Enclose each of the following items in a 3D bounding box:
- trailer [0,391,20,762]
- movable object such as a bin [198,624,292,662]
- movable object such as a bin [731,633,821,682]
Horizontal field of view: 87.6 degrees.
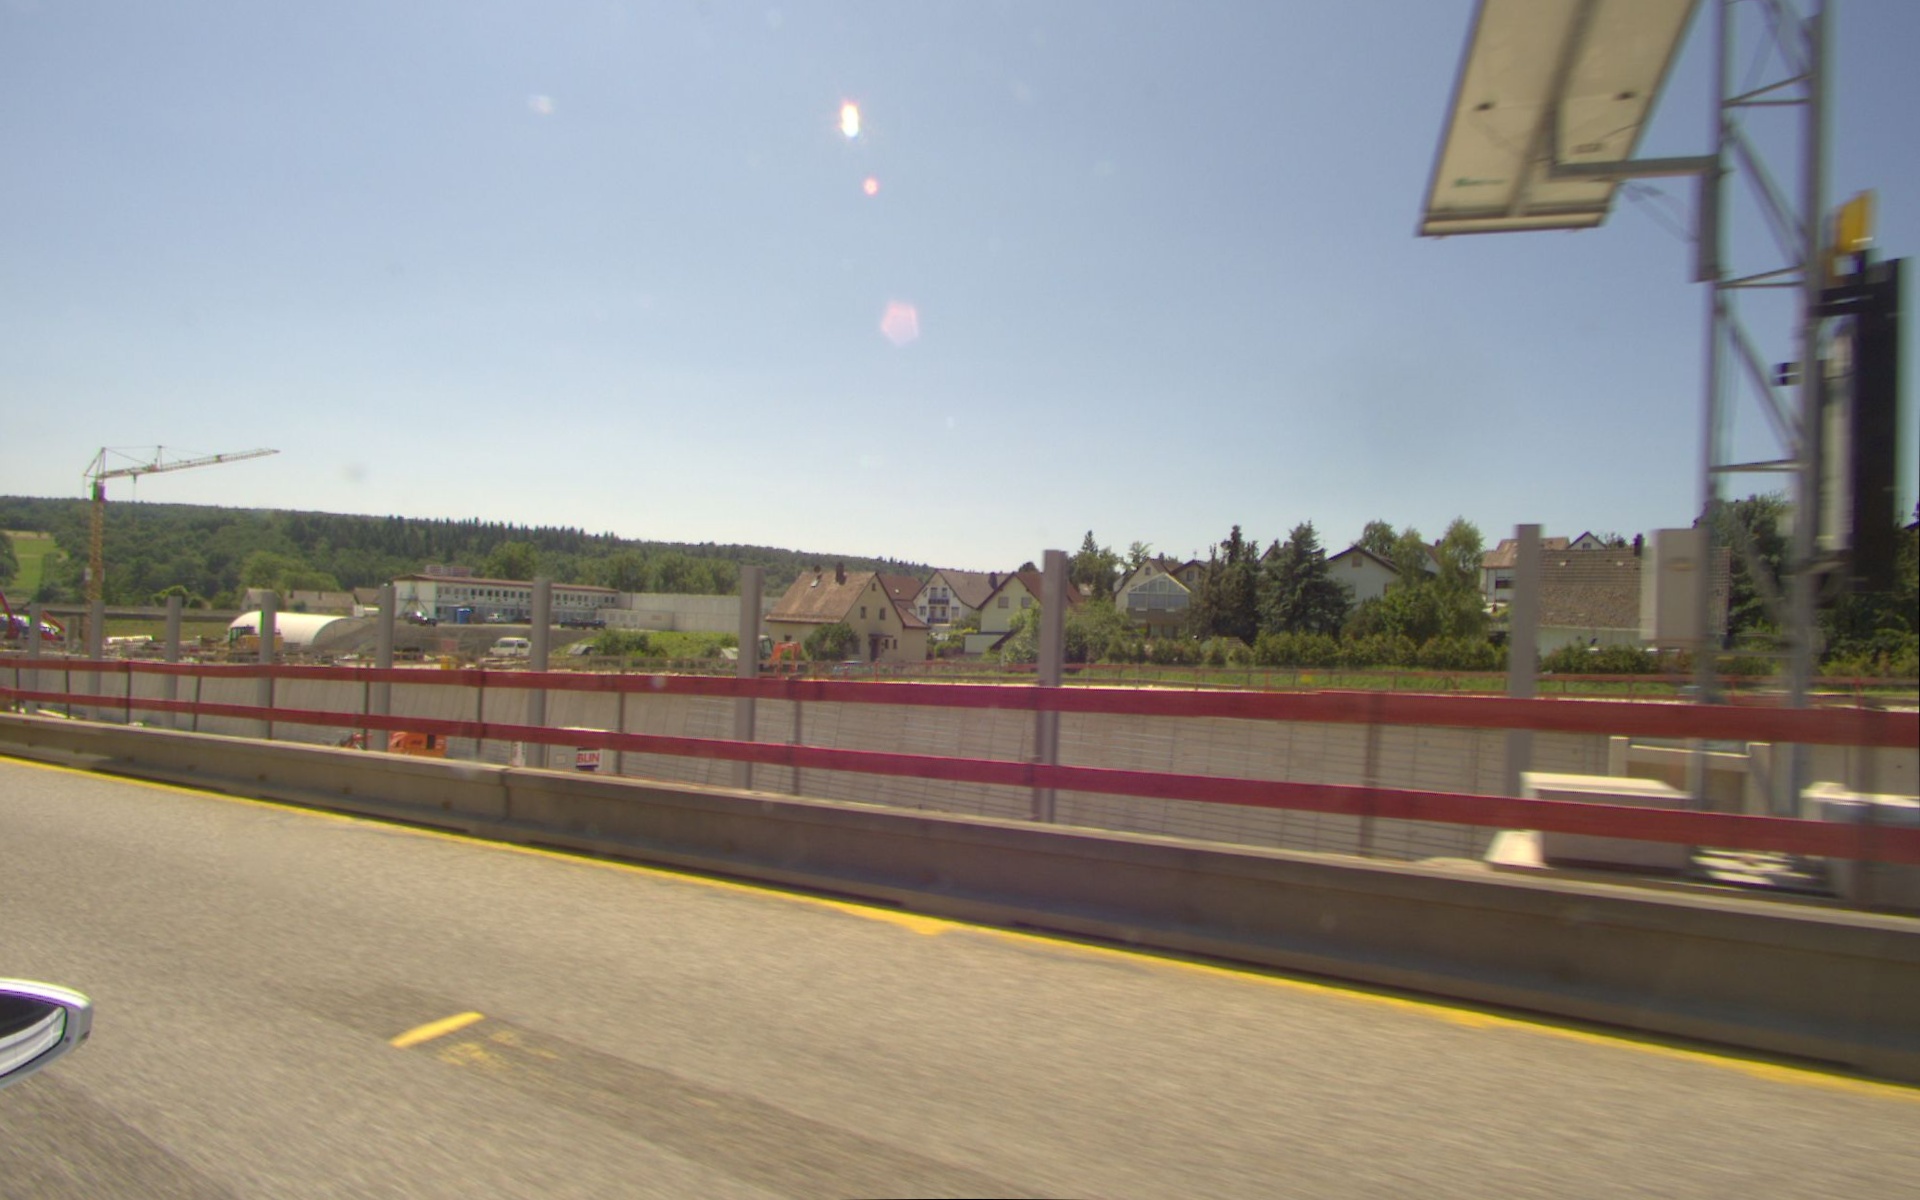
[{"bbox_3d":[-17.172,-0.141,13.730,13.914,4.110,2.797,-1,-1,32],"label":"trailer"},{"bbox_3d":[-57.452,3.428,80.388,9.345,2.946,2.882,-1,-2,33],"label":"movable object such as a bin"},{"bbox_3d":[-8.978,2.756,48.792,4.093,2.267,1.990,-1,-2,33],"label":"movable object such as a bin"}]
